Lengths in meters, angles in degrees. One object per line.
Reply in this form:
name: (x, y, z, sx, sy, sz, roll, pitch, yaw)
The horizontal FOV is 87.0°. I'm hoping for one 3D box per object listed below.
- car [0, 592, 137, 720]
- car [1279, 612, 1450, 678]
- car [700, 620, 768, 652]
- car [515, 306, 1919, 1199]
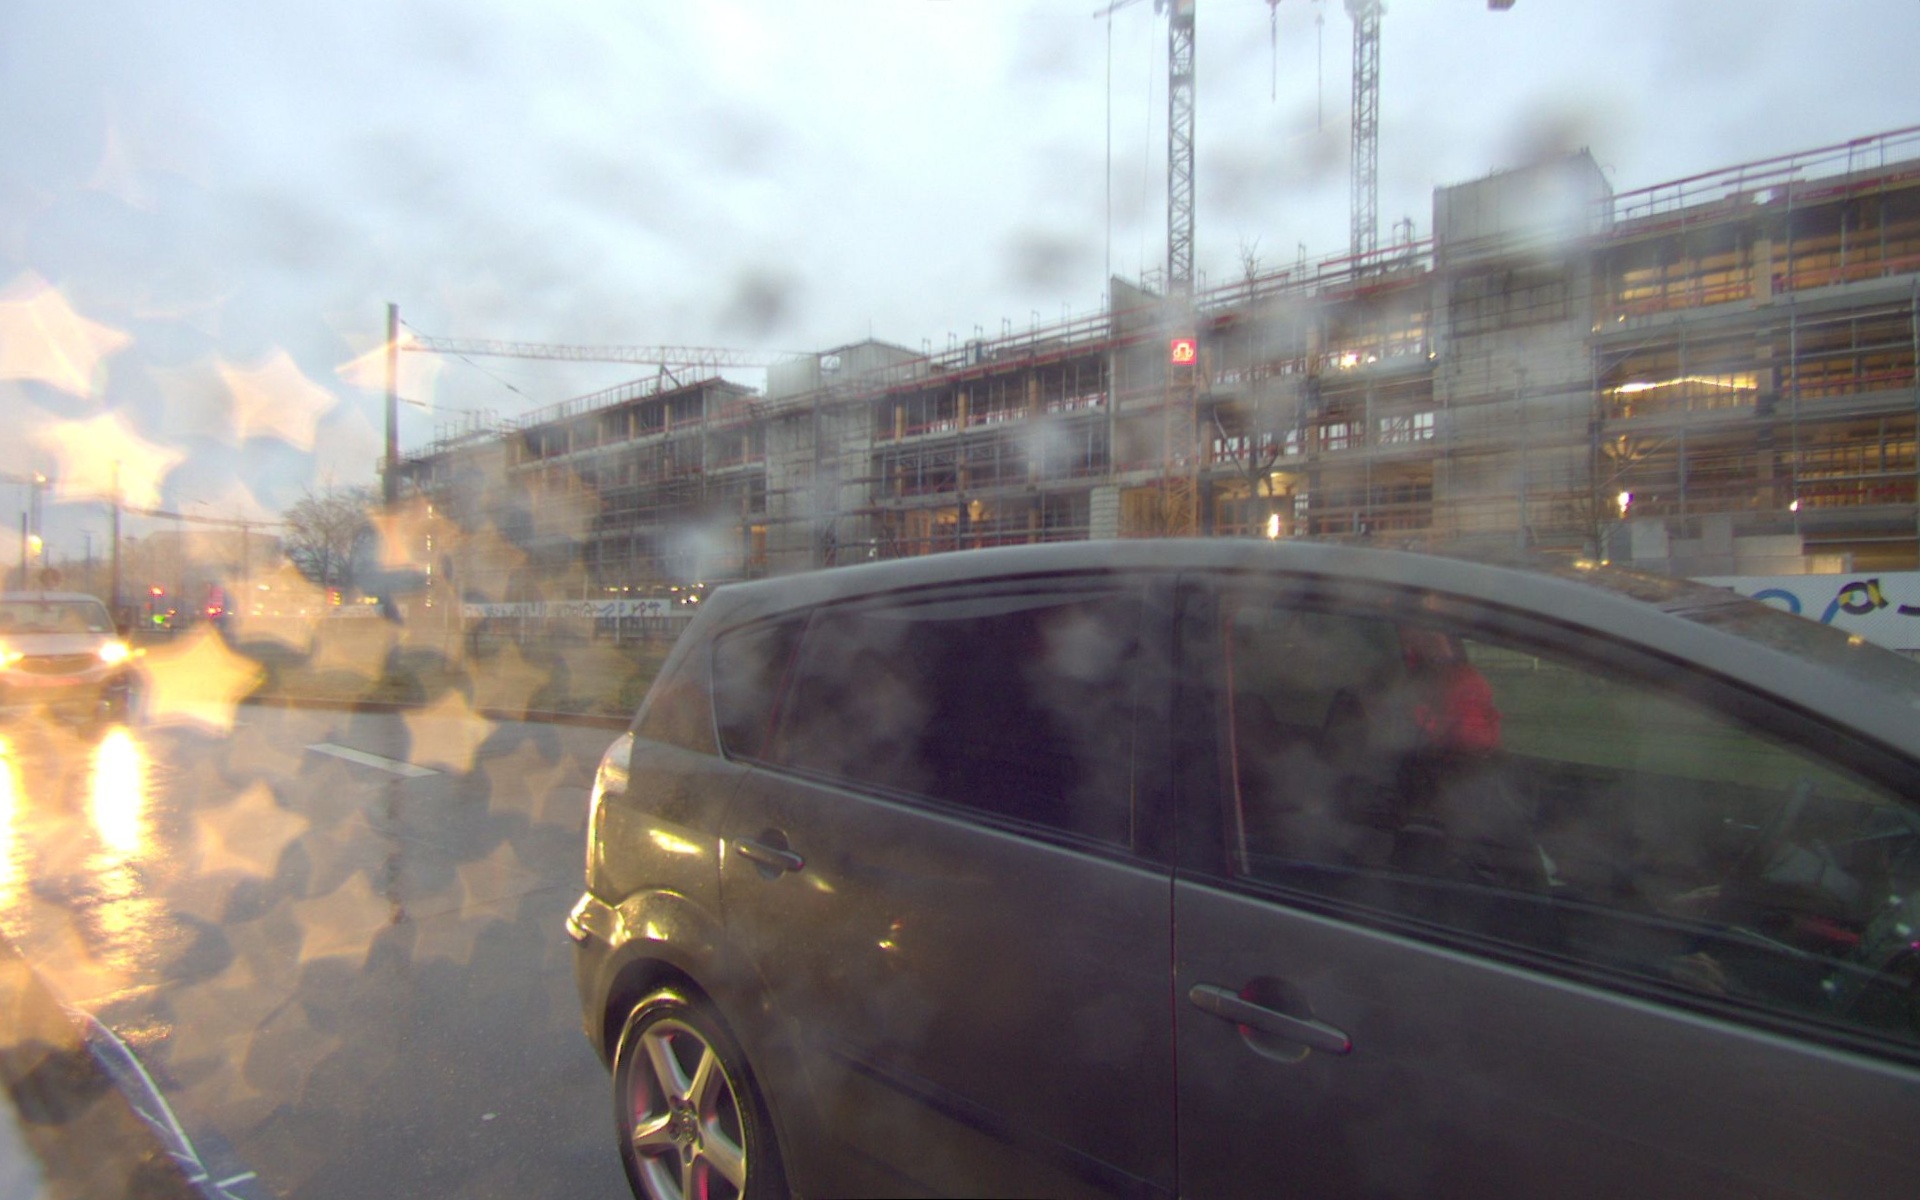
car: (-14.227, 0.777, 15.453, 3.996, 1.746, 1.835, -1, 0, 39)
car: (11.456, 1.218, 28.815, 4.085, 1.700, 1.931, -1, 0, 44)
car: (-13.311, 2.082, 59.505, 4.000, 1.785, 1.972, -1, 0, 43)
car: (1.035, 0.547, 1.827, 3.996, 1.606, 1.742, -1, 0, 39)
